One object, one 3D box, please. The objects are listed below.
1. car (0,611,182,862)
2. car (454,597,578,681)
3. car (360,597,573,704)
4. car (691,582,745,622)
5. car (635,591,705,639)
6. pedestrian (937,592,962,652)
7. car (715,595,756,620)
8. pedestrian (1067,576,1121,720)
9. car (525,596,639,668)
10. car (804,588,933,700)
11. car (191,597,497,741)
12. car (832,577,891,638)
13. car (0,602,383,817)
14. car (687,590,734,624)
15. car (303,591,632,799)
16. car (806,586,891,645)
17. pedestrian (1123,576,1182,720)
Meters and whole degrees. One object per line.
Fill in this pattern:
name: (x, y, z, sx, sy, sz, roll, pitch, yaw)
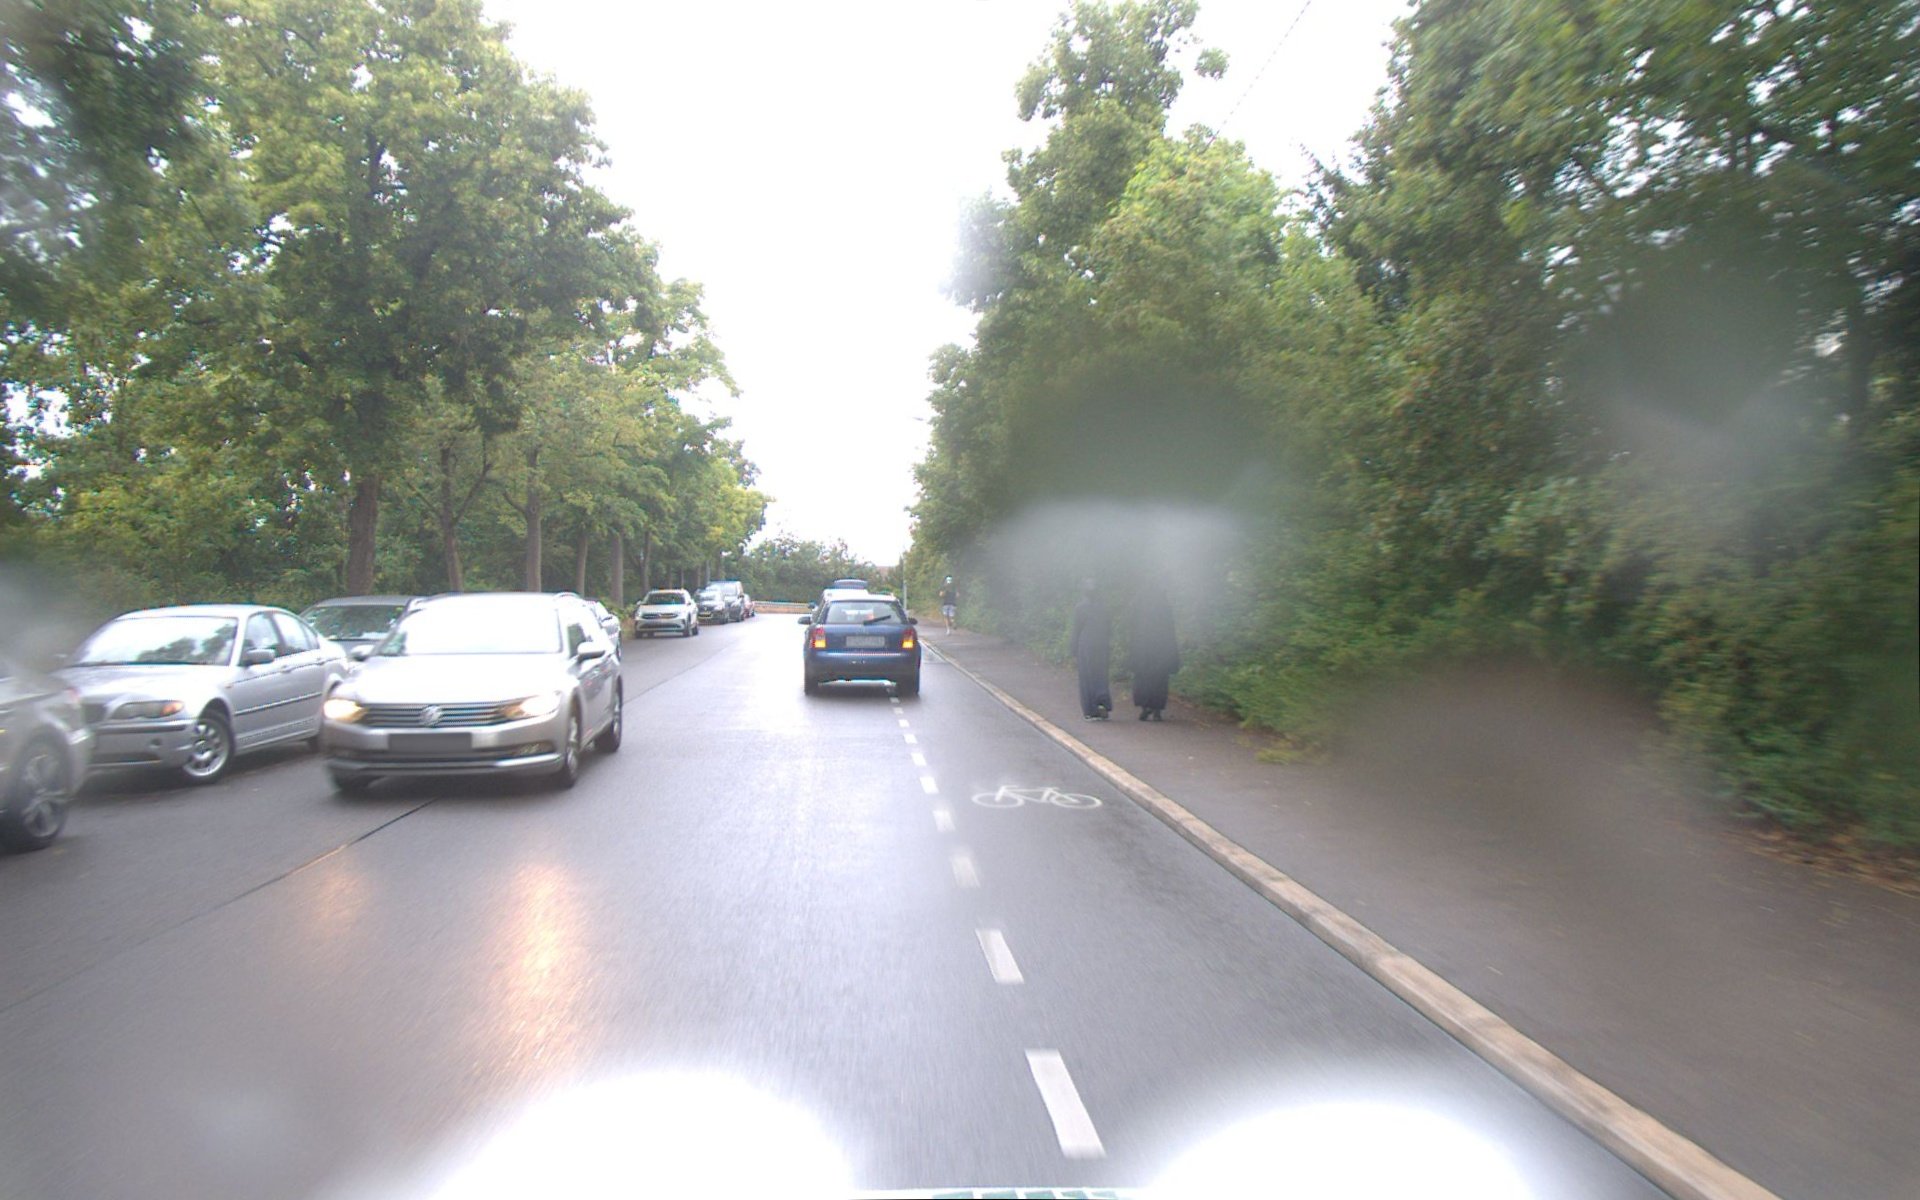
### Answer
car: (-6.322, 0.839, 8.825, 1.954, 1.331, 5.353, -2, 1, -2)
car: (-7.966, 0.672, 29.980, 1.564, 1.386, 3.995, -1, 0, -6)
car: (-7.470, 0.715, 25.559, 1.953, 1.429, 4.712, -2, 0, -2)
car: (-11.588, 0.099, 79.466, 2.042, 1.851, 5.377, -1, 0, -3)
car: (-9.384, 0.486, 53.823, 1.655, 1.462, 4.254, -1, 0, -2)
pedestrian: (-0.340, 0.677, 52.482, 0.702, 1.867, 1.021, -2, 0, -2)
car: (-12.251, 0.407, 90.478, 1.753, 1.319, 4.324, -1, 0, -2)
pedestrian: (1.517, 0.540, 18.741, 0.540, 1.594, 0.487, -2, 0, 0)
car: (-8.086, 0.664, 35.710, 1.720, 1.427, 4.415, -1, 0, -4)
car: (-1.472, 0.616, 25.283, 1.714, 1.432, 3.995, 2, 1, -6)
car: (-7.105, 0.727, 19.674, 1.953, 1.429, 4.712, -2, 0, -2)
car: (-3.714, 0.313, 61.920, 1.756, 1.987, 3.992, -5, -2, -8)
car: (-6.876, 0.821, 14.500, 1.953, 1.429, 4.714, -2, 1, 0)
car: (-11.052, 0.310, 73.519, 1.762, 1.462, 4.251, -1, 0, -5)
car: (-3.898, 0.673, 13.821, 1.847, 1.427, 4.250, -1, 0, -6)
car: (-2.881, 0.398, 42.155, 1.855, 1.413, 3.992, -1, 0, -8)
pedestrian: (2.168, 0.526, 18.690, 0.583, 1.594, 0.669, 0, 0, 0)
